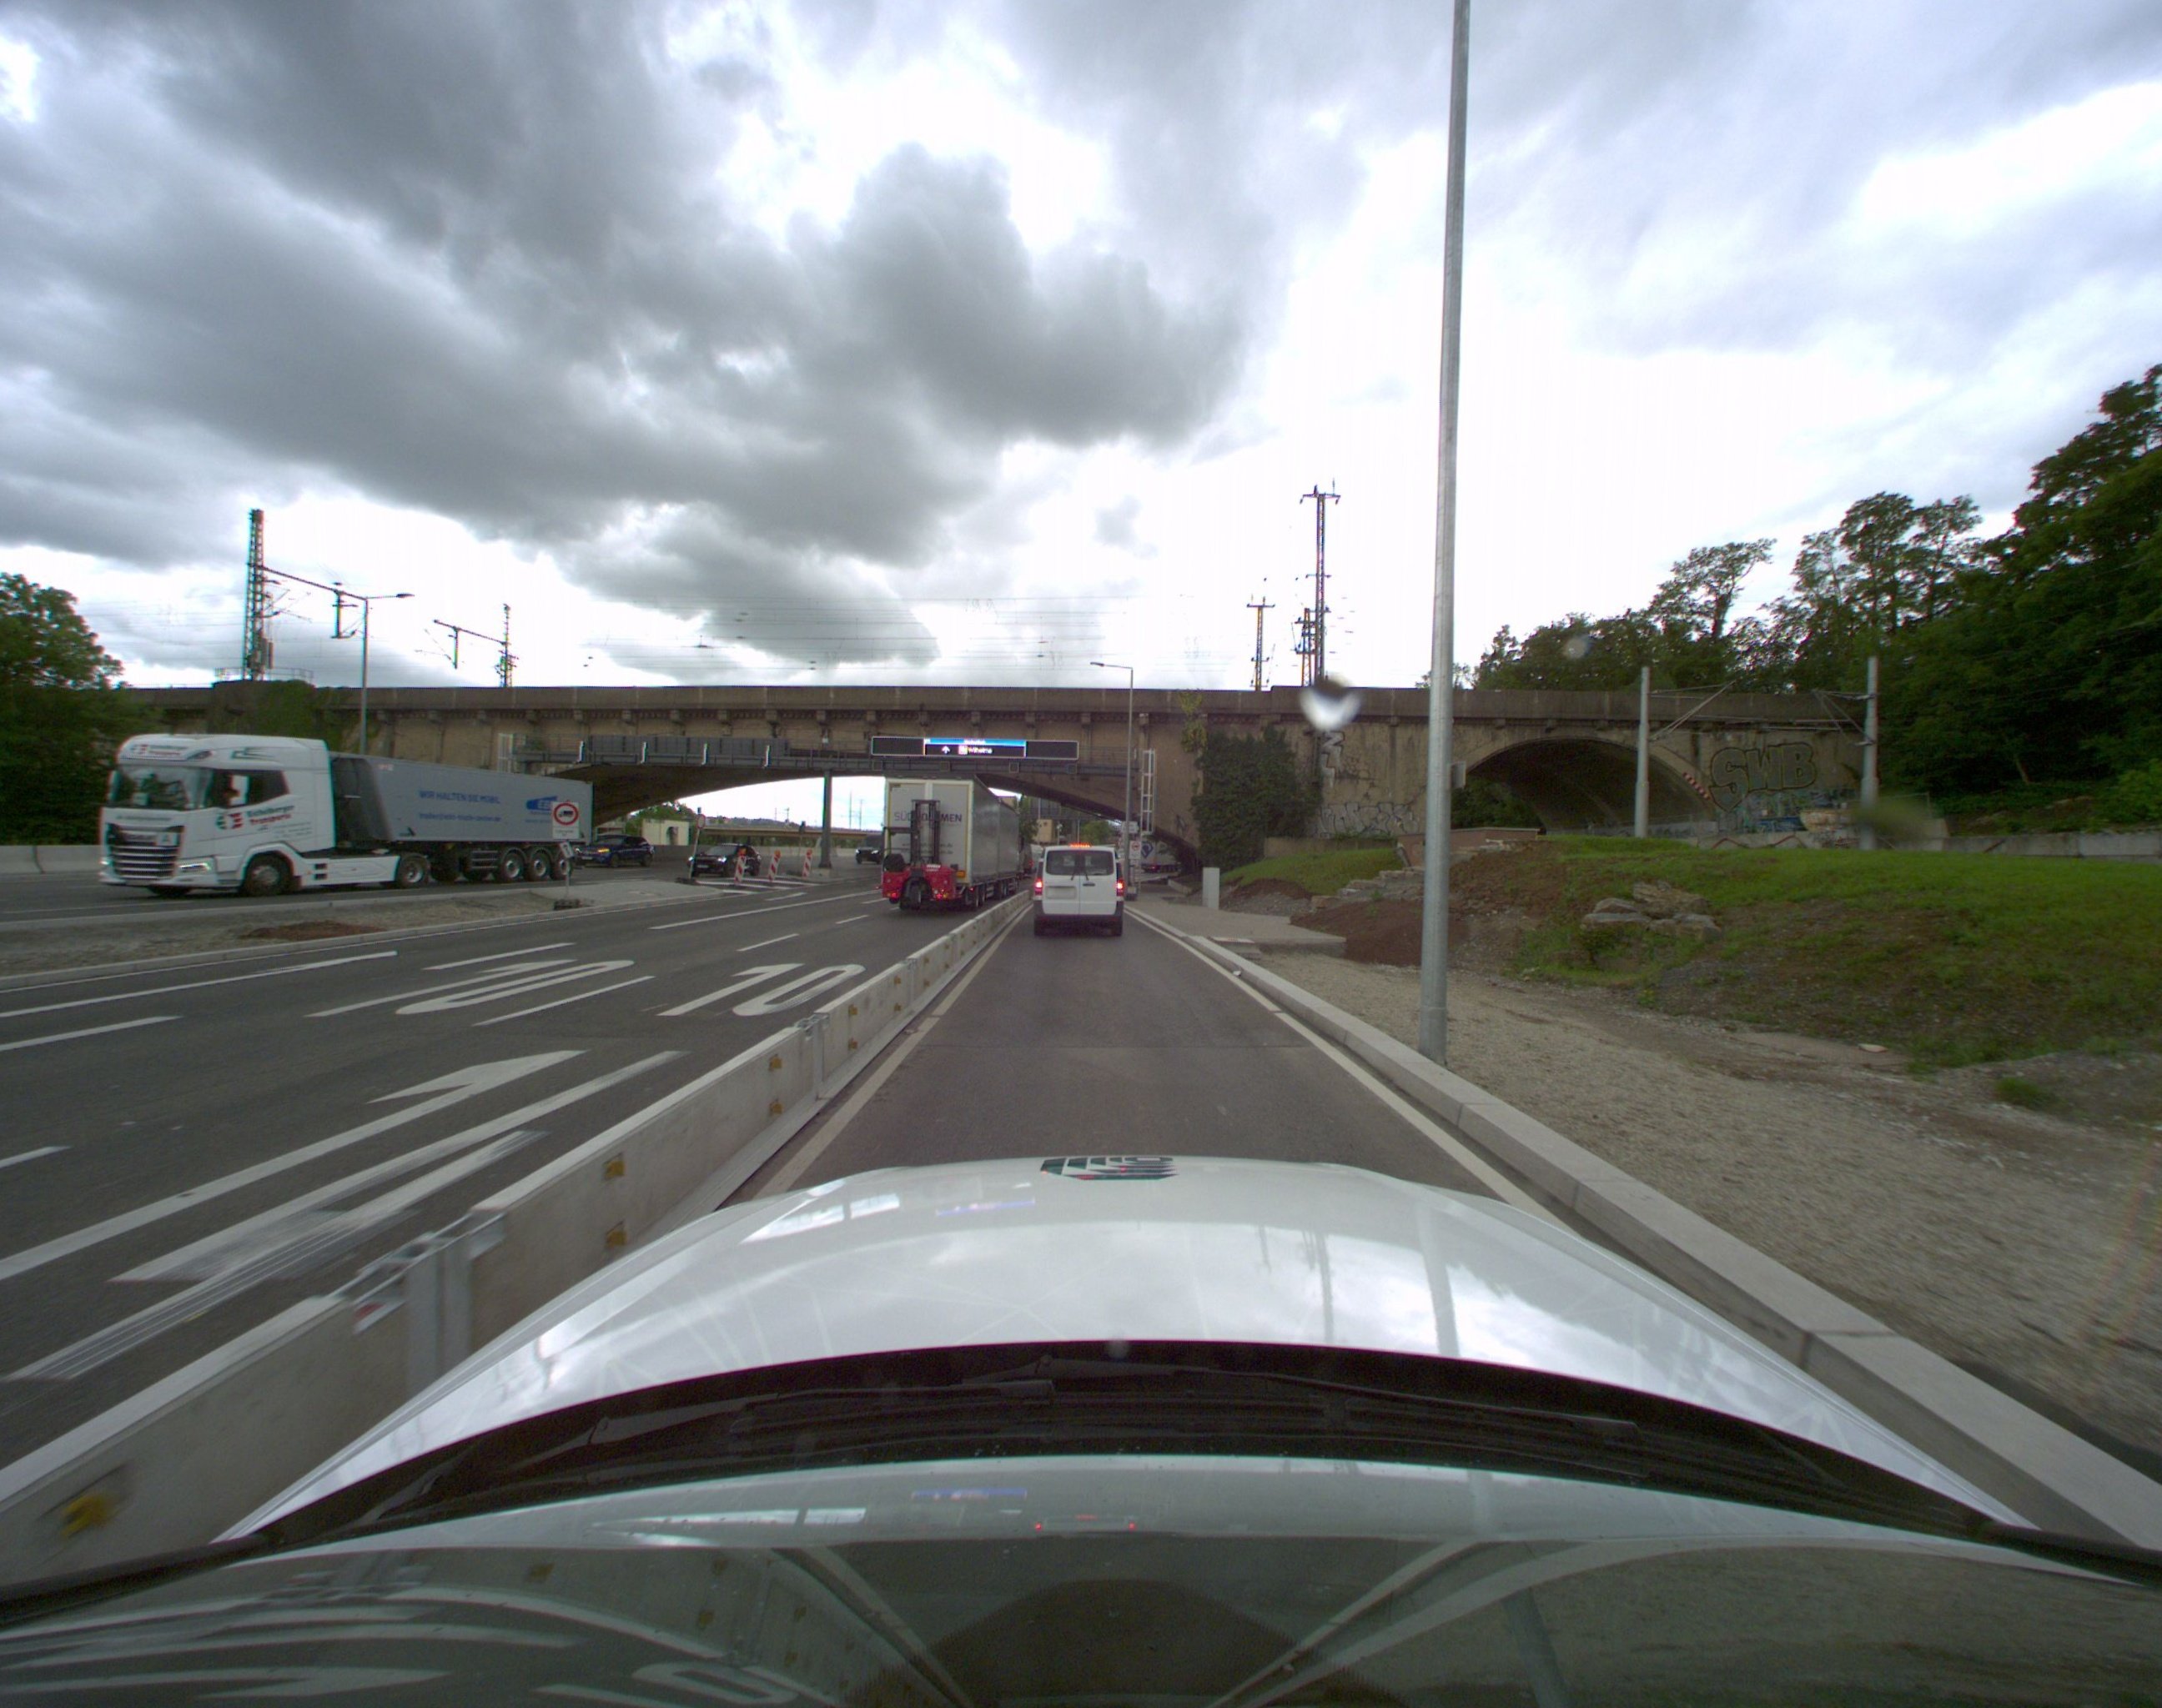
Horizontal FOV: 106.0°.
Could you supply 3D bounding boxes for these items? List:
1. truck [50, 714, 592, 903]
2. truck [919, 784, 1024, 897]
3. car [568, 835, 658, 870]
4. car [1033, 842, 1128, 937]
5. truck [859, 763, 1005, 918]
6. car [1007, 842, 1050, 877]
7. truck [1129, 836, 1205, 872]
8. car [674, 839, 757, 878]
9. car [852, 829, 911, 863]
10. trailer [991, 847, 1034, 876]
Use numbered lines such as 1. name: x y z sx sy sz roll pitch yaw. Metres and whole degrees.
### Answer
1. truck: -20.755 -1.080 24.722 2.888 4.061 13.997 1 1 2
2. truck: -4.561 -0.504 36.615 2.977 4.176 11.239 2 0 0
3. car: -23.849 -0.085 41.684 1.879 1.684 4.490 -1 0 2
4. car: -0.142 0.726 18.604 1.872 1.891 4.746 0 -1 -4
5. truck: -4.443 -0.354 26.860 2.909 4.017 10.196 2 0 -1
6. car: -4.091 0.402 64.576 1.981 2.541 5.190 4 1 11
7. truck: 10.428 0.112 95.863 3.287 3.809 16.688 3 1 26
8. car: -16.625 0.183 37.312 1.700 1.620 4.452 -2 0 1
9. car: -16.847 -0.658 69.237 2.199 2.777 6.168 1 0 14
10. trailer: -5.017 0.529 60.051 1.981 1.957 4.091 4 1 11
